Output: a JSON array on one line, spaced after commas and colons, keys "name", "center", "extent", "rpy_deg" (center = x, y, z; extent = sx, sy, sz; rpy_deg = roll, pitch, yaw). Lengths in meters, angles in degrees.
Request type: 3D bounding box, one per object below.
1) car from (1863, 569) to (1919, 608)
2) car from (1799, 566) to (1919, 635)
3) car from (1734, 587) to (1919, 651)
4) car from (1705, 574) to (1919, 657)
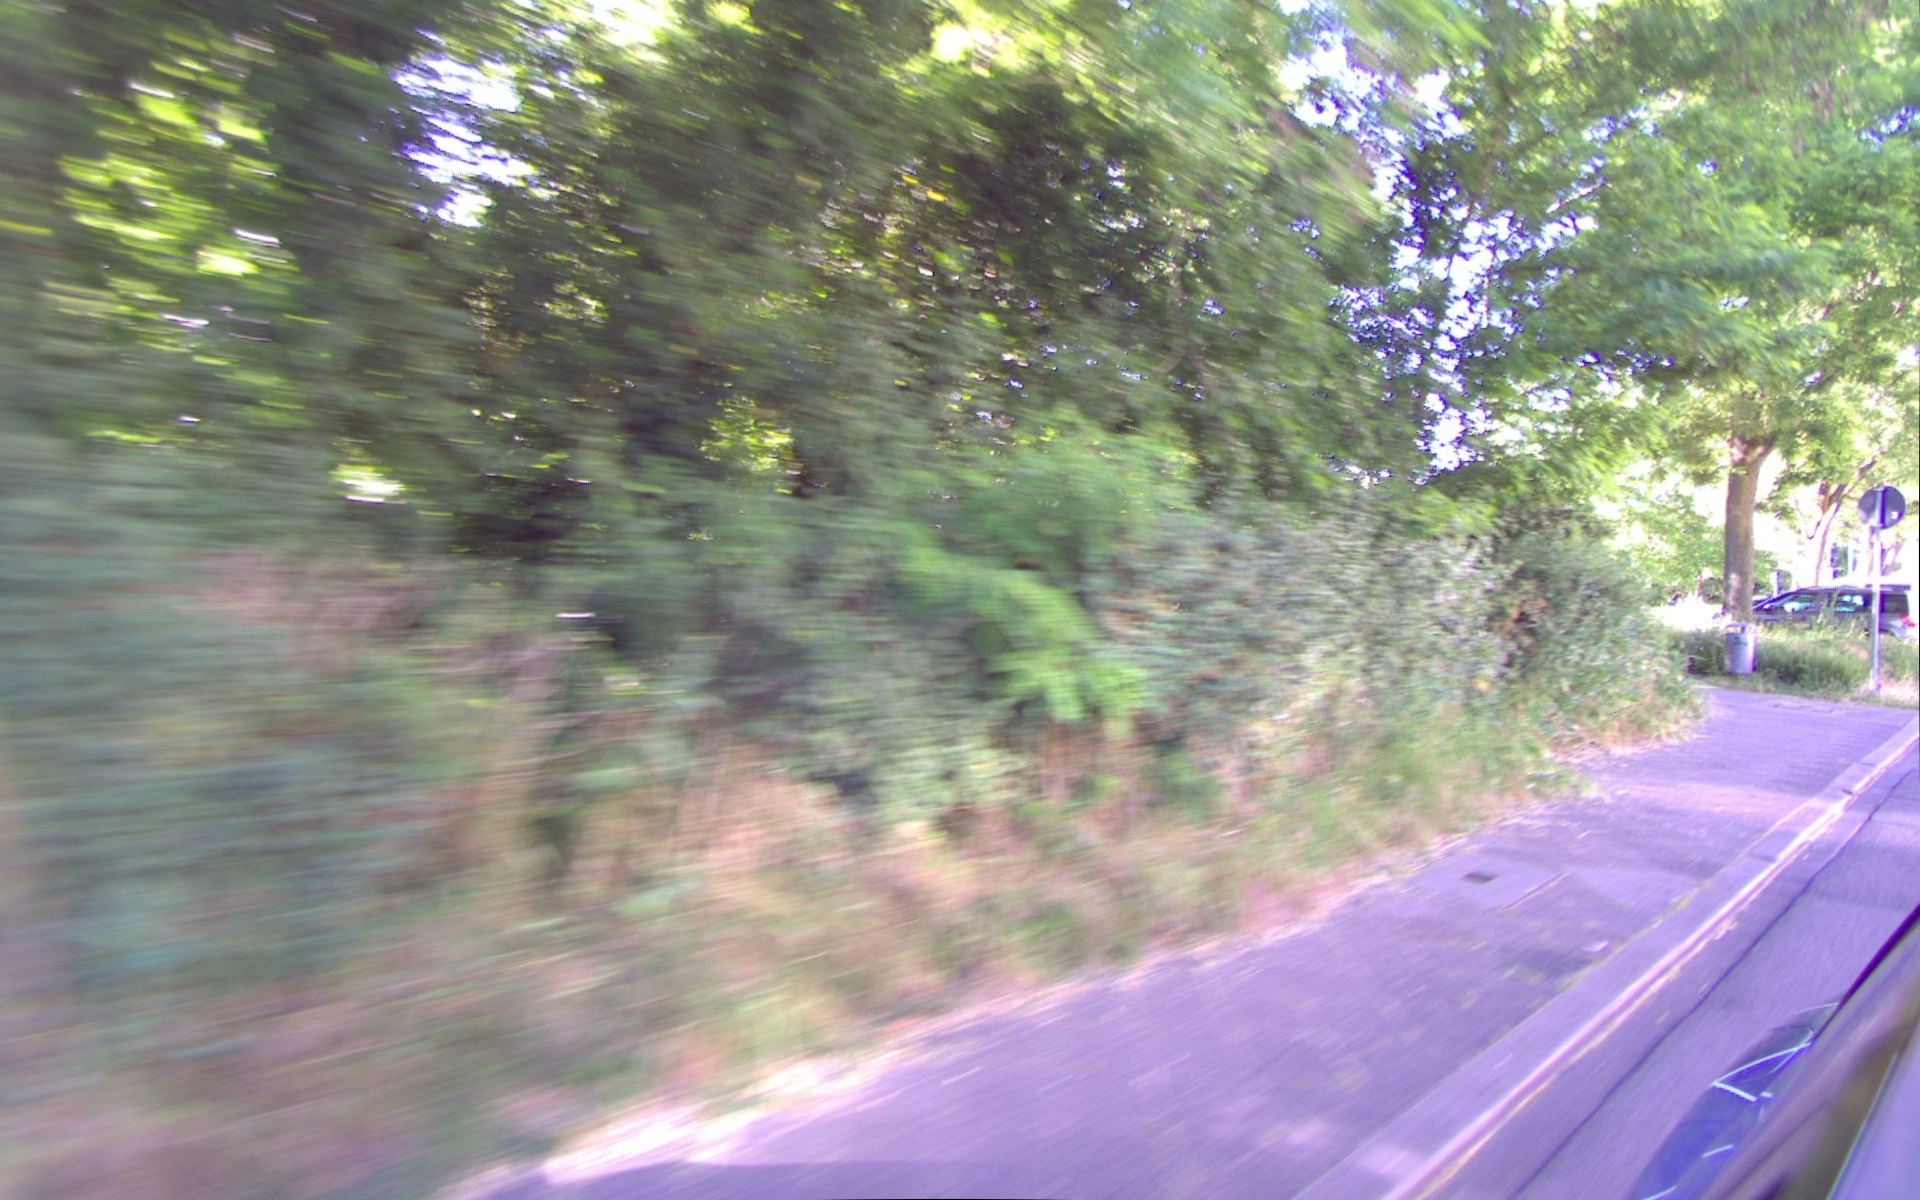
[{"name": "car", "center": [44.653, -0.536, 46.935], "extent": [1.717, 1.786, 4.043], "rpy_deg": [-1, 0, -45]}, {"name": "car", "center": [28.905, -0.004, 31.201], "extent": [1.986, 2.042, 4.458], "rpy_deg": [-1, 1, -42]}, {"name": "car", "center": [21.646, 0.413, 24.483], "extent": [1.745, 1.432, 4.456], "rpy_deg": [-1, 1, -43]}, {"name": "car", "center": [19.615, 0.294, 22.906], "extent": [1.744, 1.716, 4.156], "rpy_deg": [-1, 1, -40]}]
